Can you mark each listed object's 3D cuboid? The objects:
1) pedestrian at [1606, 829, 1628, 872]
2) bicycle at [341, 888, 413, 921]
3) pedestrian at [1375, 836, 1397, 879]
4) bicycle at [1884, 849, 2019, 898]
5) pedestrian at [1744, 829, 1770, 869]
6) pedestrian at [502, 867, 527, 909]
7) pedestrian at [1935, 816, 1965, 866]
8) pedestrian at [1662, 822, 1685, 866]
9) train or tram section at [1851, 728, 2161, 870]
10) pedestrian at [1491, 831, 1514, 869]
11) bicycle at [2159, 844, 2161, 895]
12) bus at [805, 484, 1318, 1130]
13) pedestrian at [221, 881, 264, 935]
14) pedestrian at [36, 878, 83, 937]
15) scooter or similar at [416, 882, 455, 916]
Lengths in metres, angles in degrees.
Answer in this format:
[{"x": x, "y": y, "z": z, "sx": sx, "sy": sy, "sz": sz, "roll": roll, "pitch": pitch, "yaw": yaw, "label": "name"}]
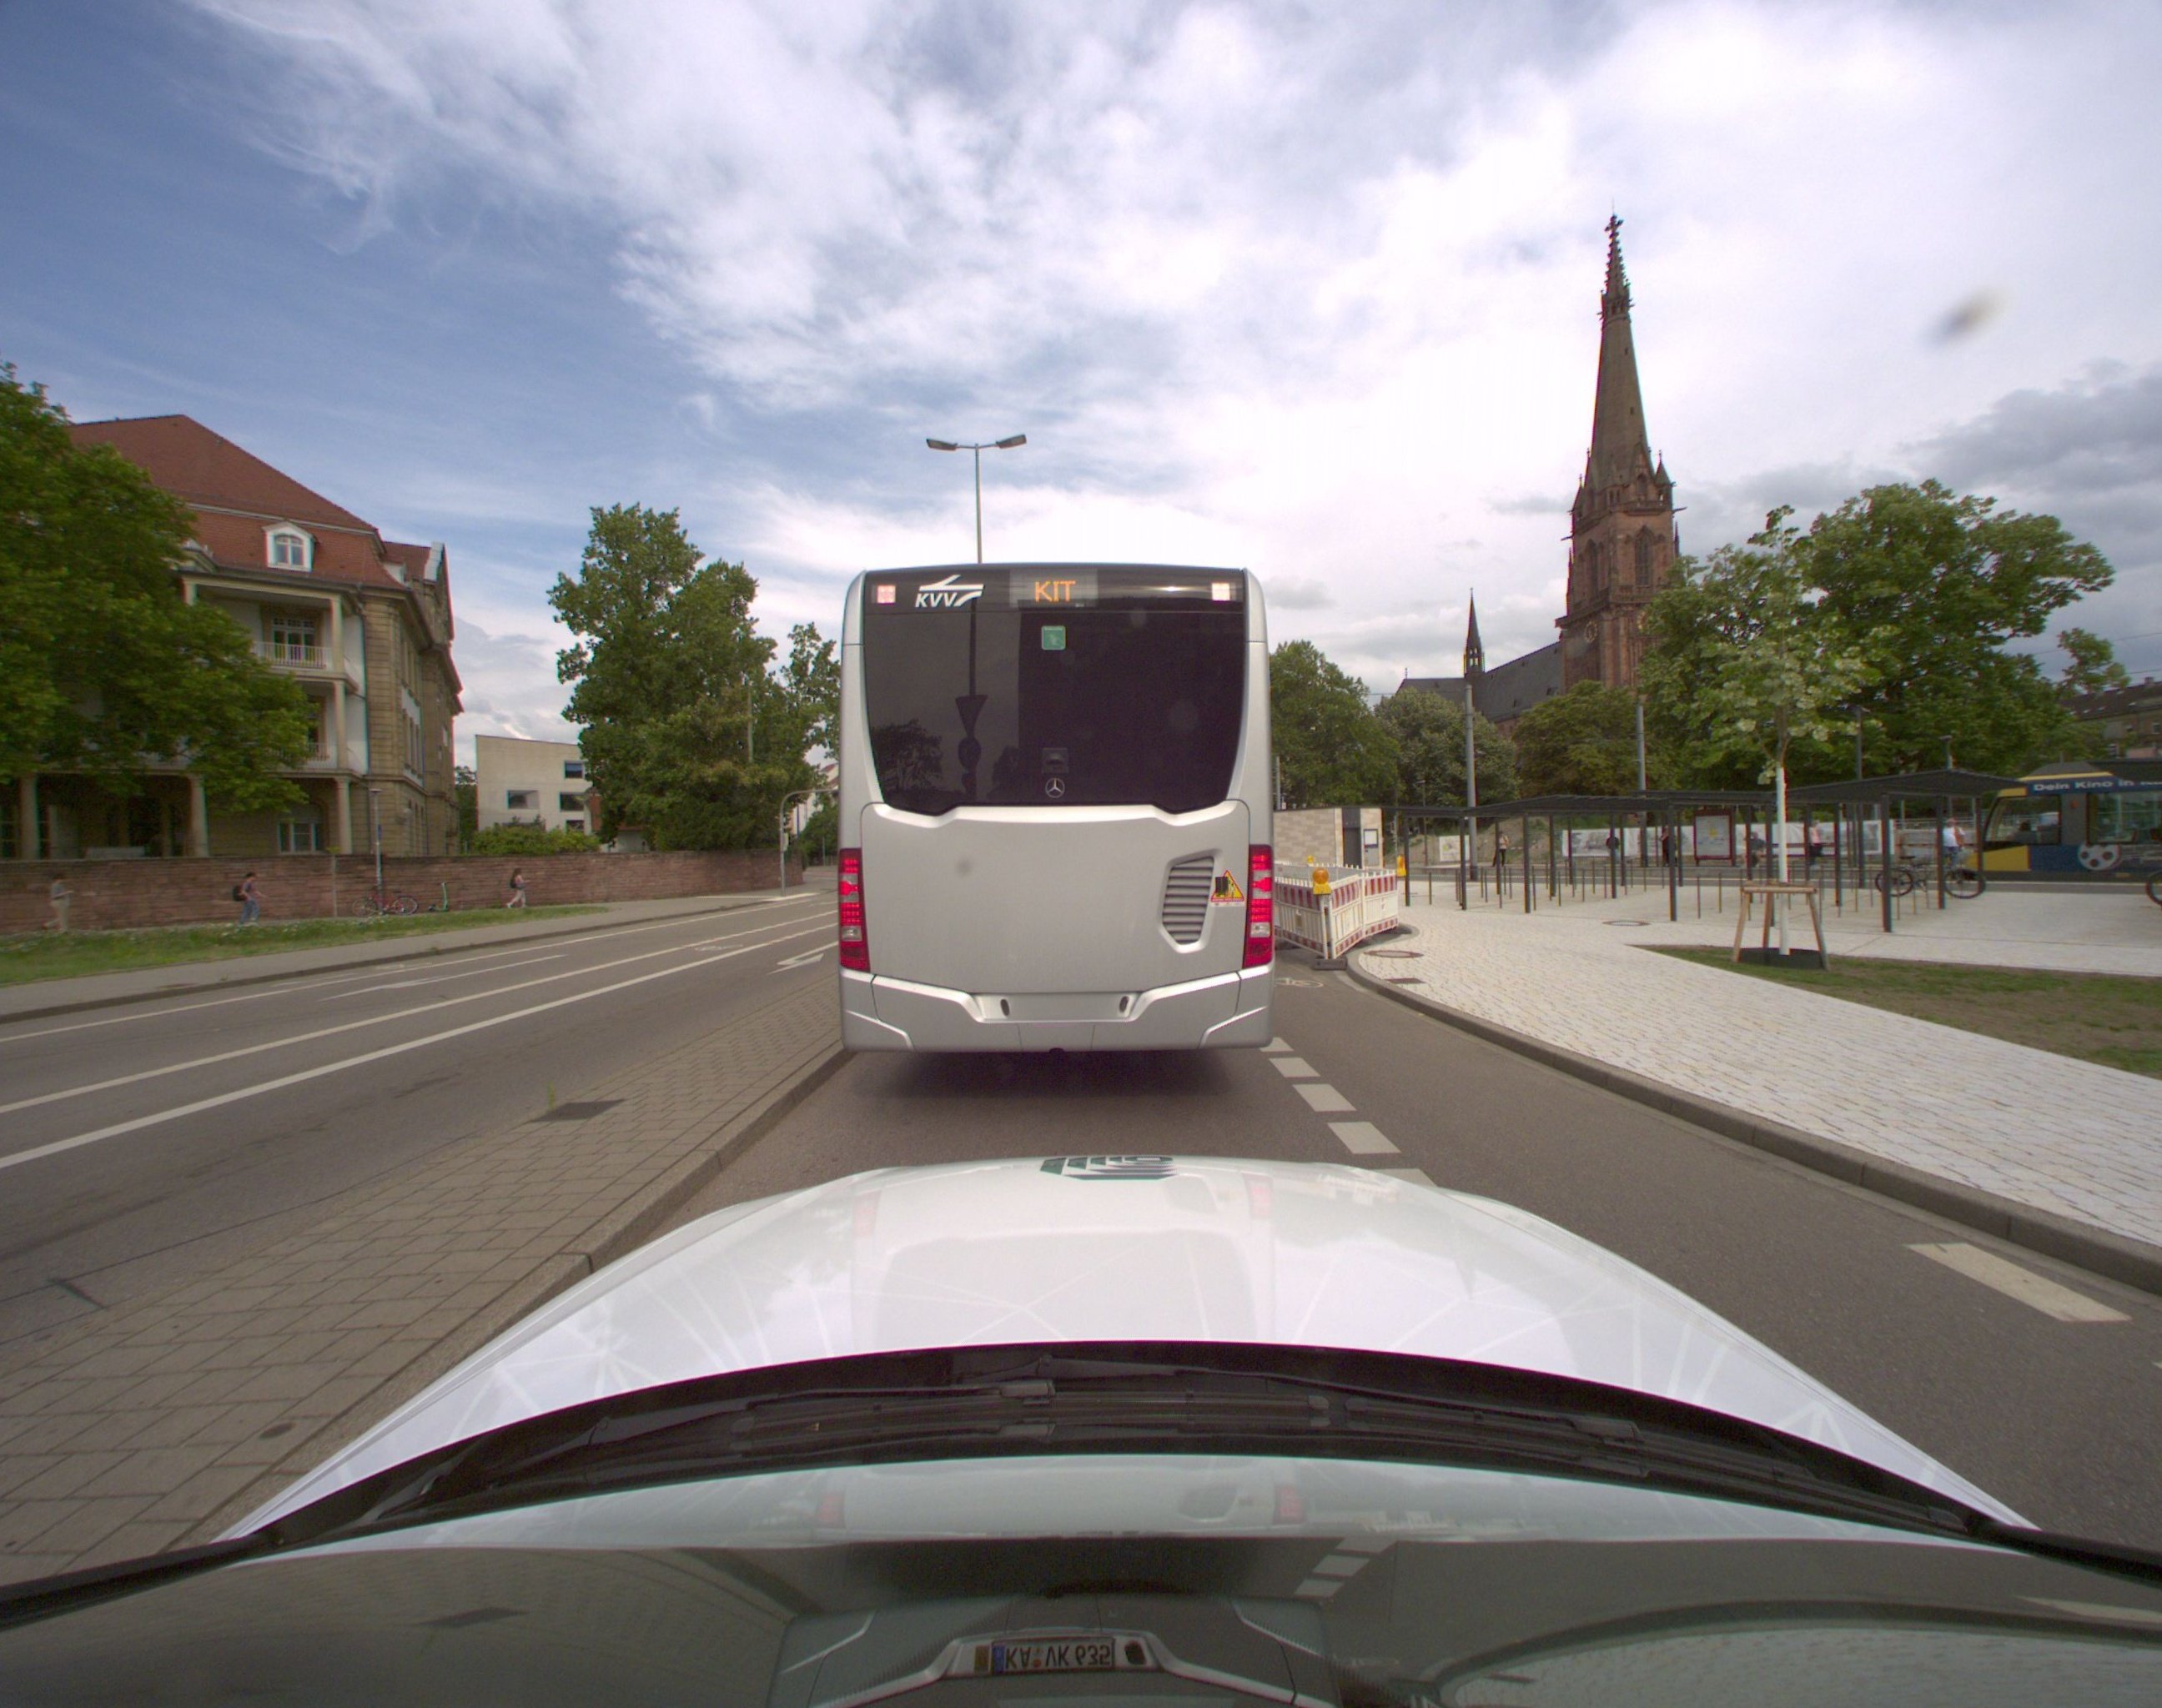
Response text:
[{"x": 23.207, "y": -0.165, "z": 35.274, "sx": 0.526, "sy": 1.800, "sz": 0.670, "roll": -4, "pitch": 3, "yaw": -42, "label": "pedestrian"}, {"x": -25.725, "y": 1.830, "z": 29.788, "sx": 1.937, "sy": 1.005, "sz": 0.770, "roll": -4, "pitch": 3, "yaw": -42, "label": "bicycle"}, {"x": 12.137, "y": 0.134, "z": 32.390, "sx": 0.534, "sy": 1.654, "sz": 0.623, "roll": -3, "pitch": 3, "yaw": -36, "label": "pedestrian"}, {"x": 18.775, "y": 0.398, "z": 17.603, "sx": 0.587, "sy": 0.955, "sz": 1.944, "roll": -3, "pitch": 3, "yaw": -38, "label": "bicycle"}, {"x": 26.101, "y": -0.211, "z": 31.427, "sx": 0.694, "sy": 1.485, "sz": 0.670, "roll": -4, "pitch": 3, "yaw": -42, "label": "pedestrian"}, {"x": -22.848, "y": 1.362, "z": 32.860, "sx": 0.525, "sy": 1.654, "sz": 0.634, "roll": 0, "pitch": 3, "yaw": 36, "label": "pedestrian"}, {"x": 29.678, "y": -0.452, "z": 27.800, "sx": 0.714, "sy": 1.677, "sz": 0.670, "roll": -4, "pitch": 3, "yaw": -42, "label": "pedestrian"}, {"x": 24.430, "y": -0.415, "z": 33.582, "sx": 0.526, "sy": 1.800, "sz": 0.670, "roll": -4, "pitch": 3, "yaw": -42, "label": "pedestrian"}, {"x": 25.800, "y": -1.351, "z": 20.226, "sx": 3.076, "sy": 3.276, "sz": 9.270, "roll": -3, "pitch": 3, "yaw": -35, "label": "train or tram section"}, {"x": 20.493, "y": -0.194, "z": 39.600, "sx": 0.816, "sy": 1.800, "sz": 0.755, "roll": -1, "pitch": 2, "yaw": 11, "label": "pedestrian"}, {"x": 21.943, "y": 0.319, "z": 15.339, "sx": 0.587, "sy": 0.970, "sz": 1.944, "roll": -3, "pitch": 3, "yaw": -38, "label": "bicycle"}, {"x": -0.079, "y": -0.220, "z": 11.496, "sx": 2.696, "sy": 3.438, "sz": 14.181, "roll": -1, "pitch": 0, "yaw": 0, "label": "bus"}, {"x": -27.051, "y": 1.720, "z": 26.278, "sx": 0.570, "sy": 1.654, "sz": 0.787, "roll": 0, "pitch": 3, "yaw": 33, "label": "pedestrian"}, {"x": -30.604, "y": 1.591, "z": 24.404, "sx": 0.570, "sy": 1.654, "sz": 0.787, "roll": 0, "pitch": 3, "yaw": 38, "label": "pedestrian"}, {"x": -24.586, "y": 1.700, "z": 31.054, "sx": 0.519, "sy": 1.139, "sz": 1.513, "roll": -2, "pitch": 2, "yaw": -13, "label": "scooter or similar"}]
